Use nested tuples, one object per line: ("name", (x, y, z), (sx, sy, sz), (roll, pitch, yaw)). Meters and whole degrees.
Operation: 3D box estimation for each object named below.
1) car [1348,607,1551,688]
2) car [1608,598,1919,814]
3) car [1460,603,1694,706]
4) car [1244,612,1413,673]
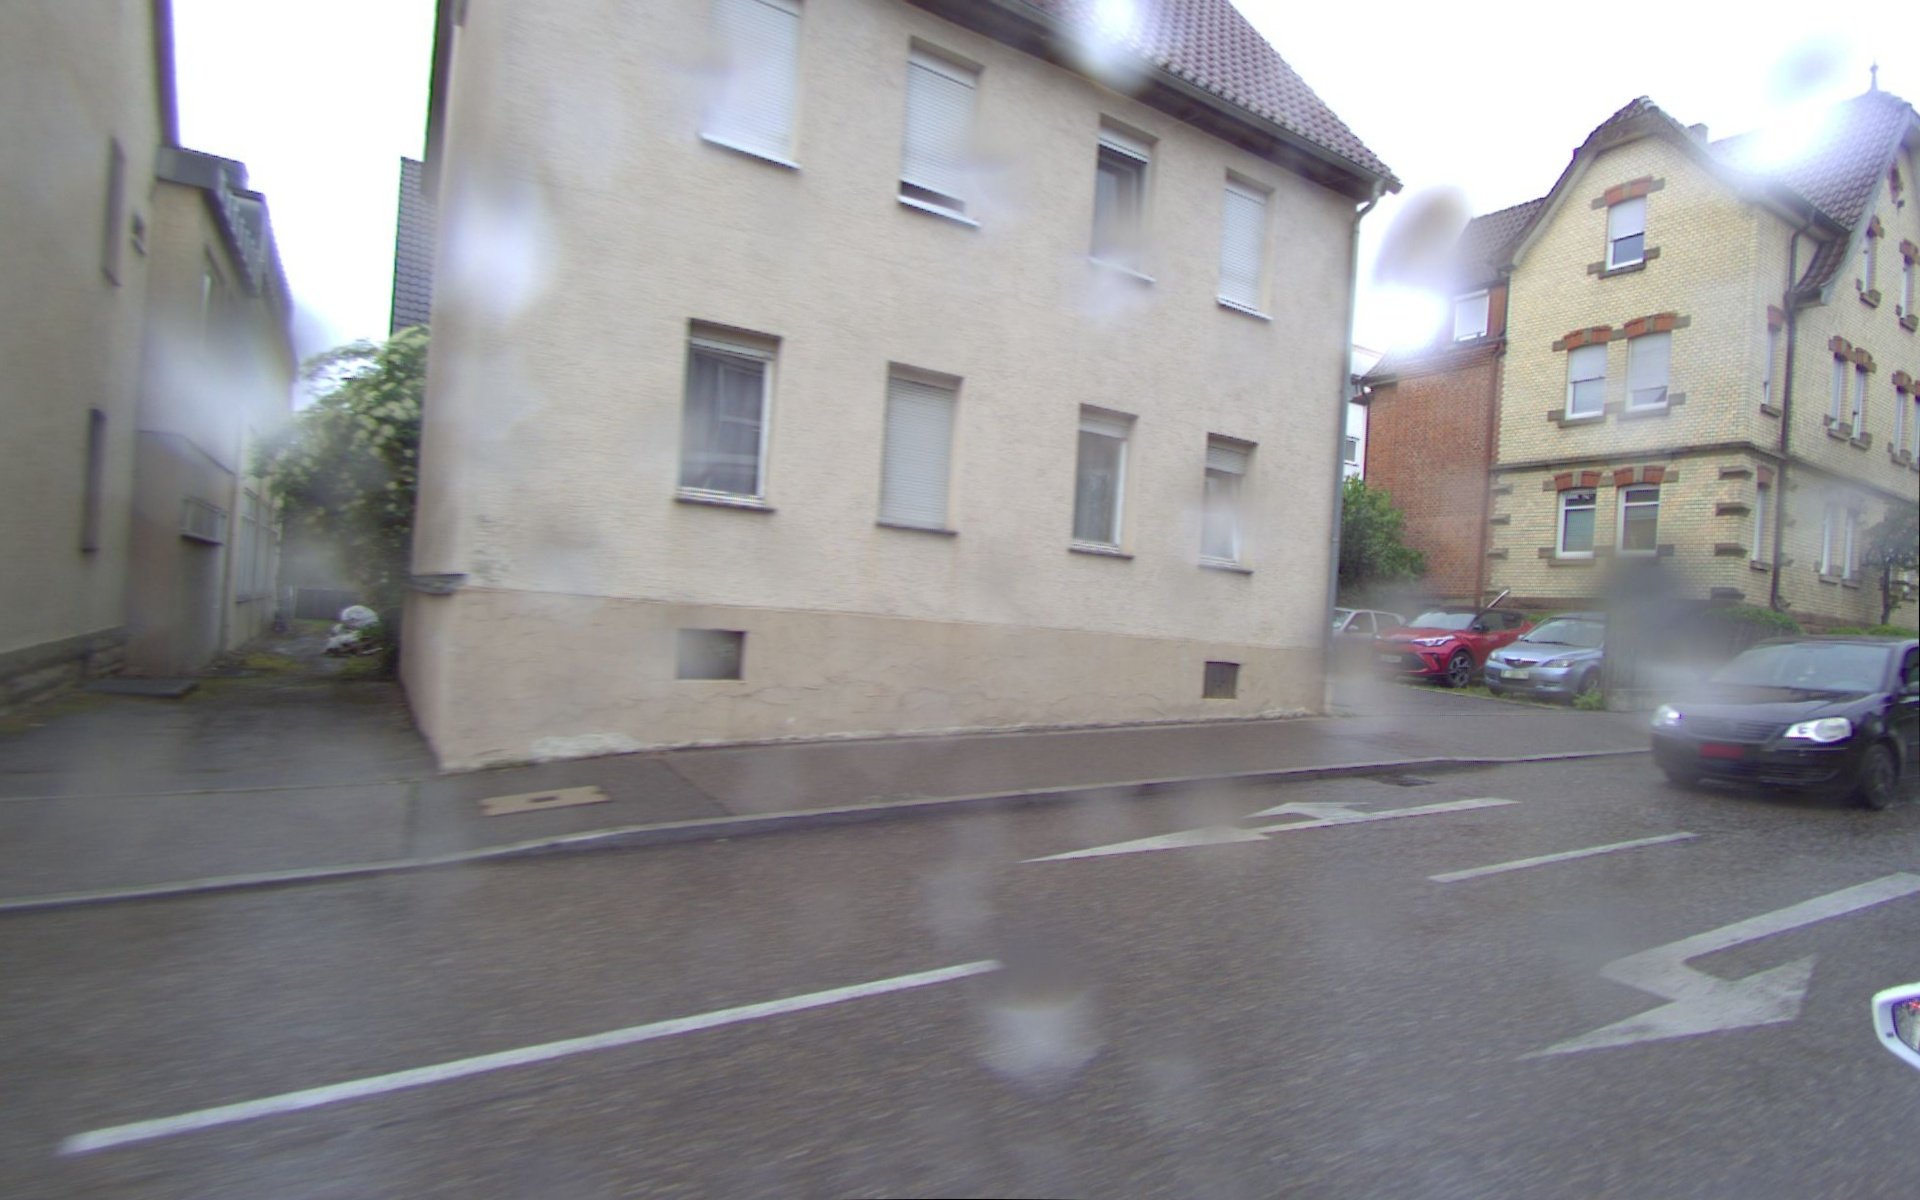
("car", (9.667, 0.892, 19.790), (3.838, 1.386, 1.761), (1, 2, -31))
("car", (8.211, 0.895, 9.544), (3.765, 1.593, 1.738), (2, 3, -28))
("car", (10.613, 0.878, 17.242), (3.836, 1.523, 1.762), (1, 2, -30))
("car", (8.247, 0.922, 22.442), (3.534, 1.181, 1.709), (1, 2, -31))
